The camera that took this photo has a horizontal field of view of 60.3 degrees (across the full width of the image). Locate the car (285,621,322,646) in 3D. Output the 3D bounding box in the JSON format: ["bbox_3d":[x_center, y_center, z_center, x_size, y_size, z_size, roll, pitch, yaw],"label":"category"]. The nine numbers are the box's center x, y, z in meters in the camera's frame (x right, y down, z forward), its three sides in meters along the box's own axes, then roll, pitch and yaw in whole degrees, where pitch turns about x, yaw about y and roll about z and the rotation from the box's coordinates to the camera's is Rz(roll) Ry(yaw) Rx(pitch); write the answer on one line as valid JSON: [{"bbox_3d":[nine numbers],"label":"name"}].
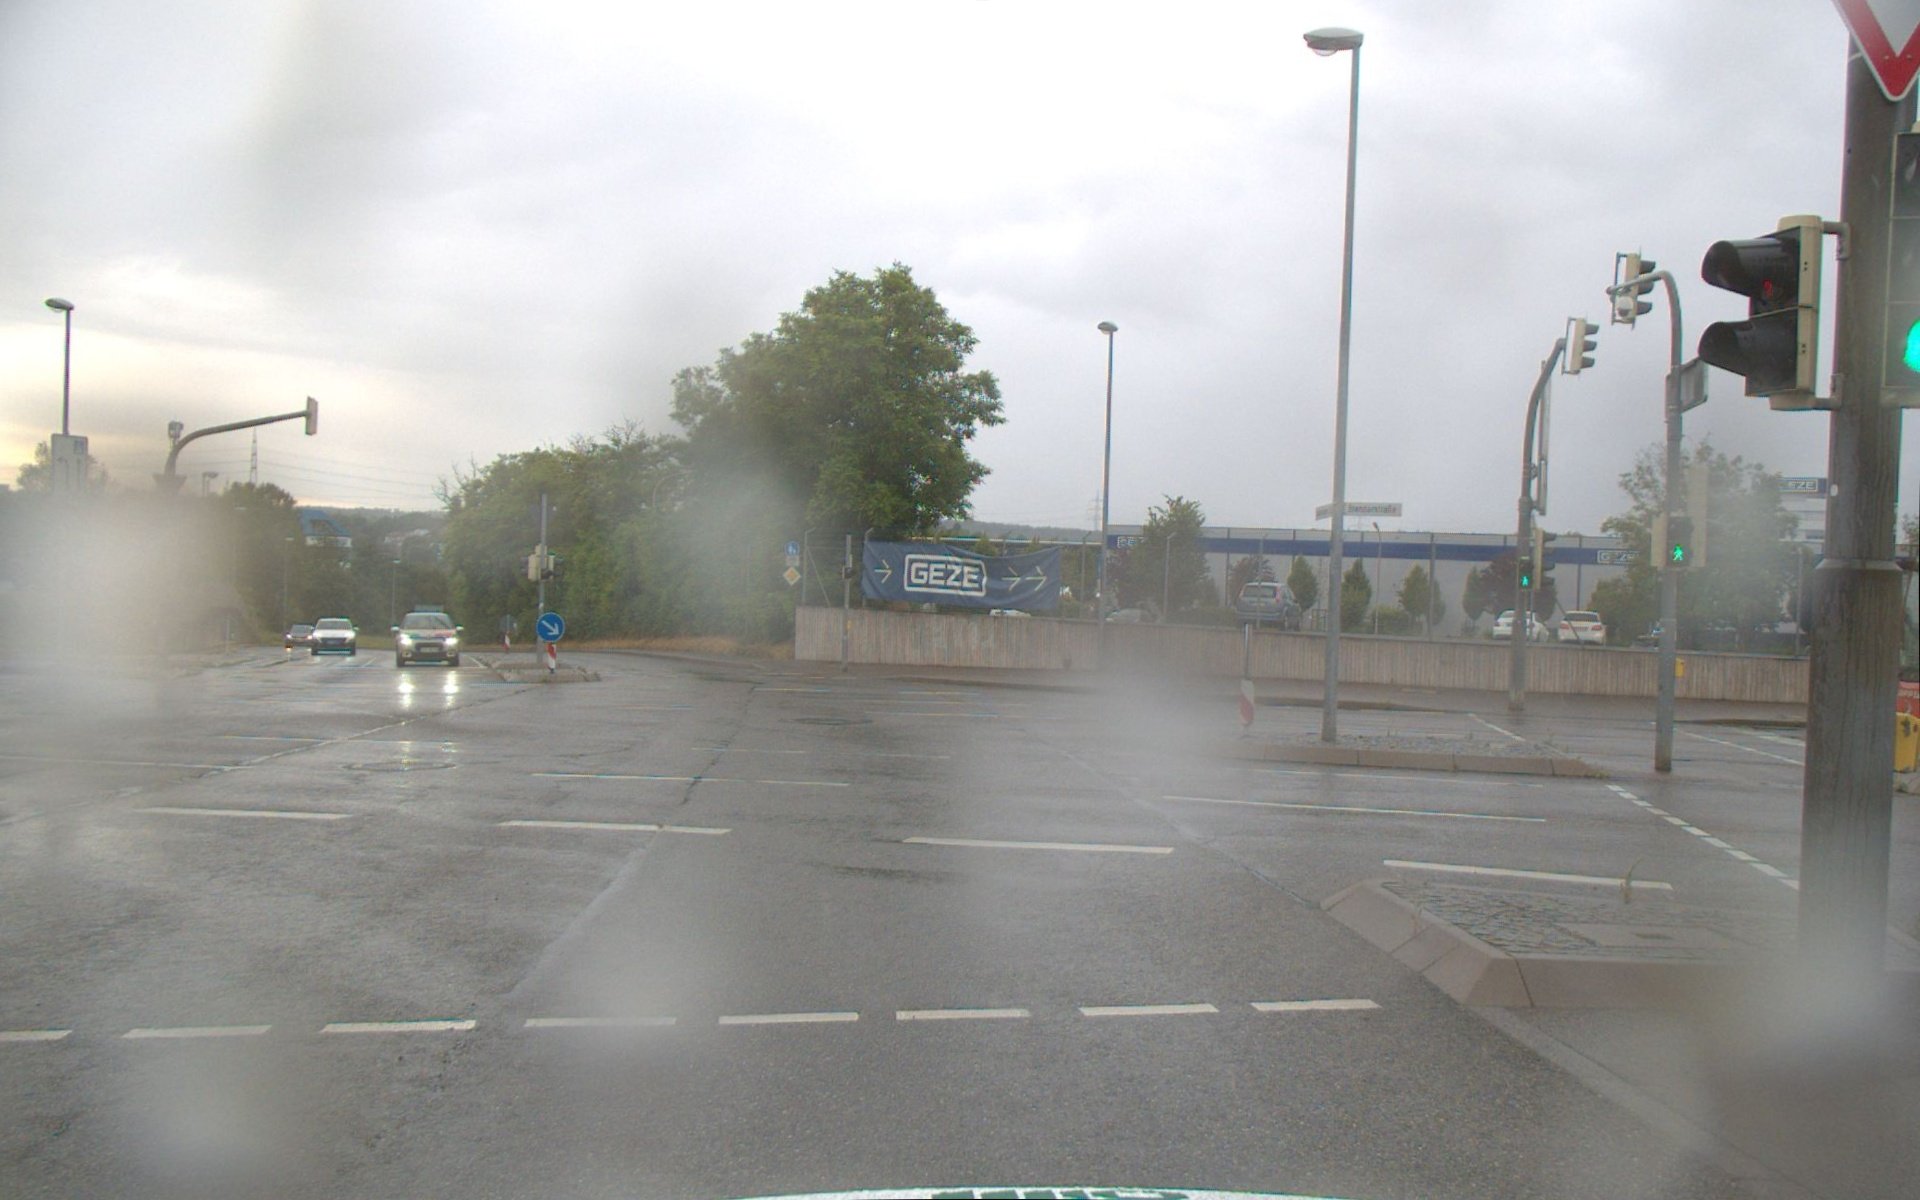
[{"bbox_3d":[-42.428,2.166,106.785,1.875,1.481,3.966,2,0,-26],"label":"car"}]

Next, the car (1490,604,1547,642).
[{"bbox_3d":[22.957,0.955,67.904,1.781,1.459,4.100,1,-1,25],"label":"car"}]

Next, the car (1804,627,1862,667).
[{"bbox_3d":[38.501,2.049,73.022,1.883,1.617,3.788,1,0,22],"label":"car"}]

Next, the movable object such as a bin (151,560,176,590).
[{"bbox_3d":[-41.066,-1.283,85.284,1.071,1.462,1.433,3,-3,-27],"label":"movable object such as a bin"}]

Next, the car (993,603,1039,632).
[{"bbox_3d":[3.231,1.032,95.121,1.632,1.634,3.531,1,-1,20],"label":"car"}]

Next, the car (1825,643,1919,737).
[{"bbox_3d":[16.137,1.441,25.895,4.286,1.378,1.827,1,0,16],"label":"car"}]

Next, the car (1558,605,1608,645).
[{"bbox_3d":[25.373,1.038,67.313,1.820,1.553,4.103,1,-1,22],"label":"car"}]

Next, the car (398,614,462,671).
[{"bbox_3d":[-15.123,1.199,47.175,1.636,1.521,3.979,1,-1,-18],"label":"car"}]

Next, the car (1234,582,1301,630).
[{"bbox_3d":[10.589,0.229,56.793,1.707,1.580,3.531,1,-1,20],"label":"car"}]

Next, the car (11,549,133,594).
[{"bbox_3d":[-35.925,-1.133,66.953,3.902,1.614,1.903,1,-3,8],"label":"car"}]

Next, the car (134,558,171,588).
[{"bbox_3d":[-46.230,-1.539,94.658,1.806,1.467,3.964,3,-3,-27],"label":"car"}]

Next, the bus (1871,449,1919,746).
[{"bbox_3d":[17.611,0.259,19.023,11.994,3.638,2.988,3,0,17],"label":"bus"}]

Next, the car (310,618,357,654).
[{"bbox_3d":[-27.286,1.566,72.140,1.694,1.521,3.979,1,-1,-18],"label":"car"}]

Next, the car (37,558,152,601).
[{"bbox_3d":[-36.307,-0.861,69.441,3.902,1.614,1.903,1,-3,12],"label":"car"}]
